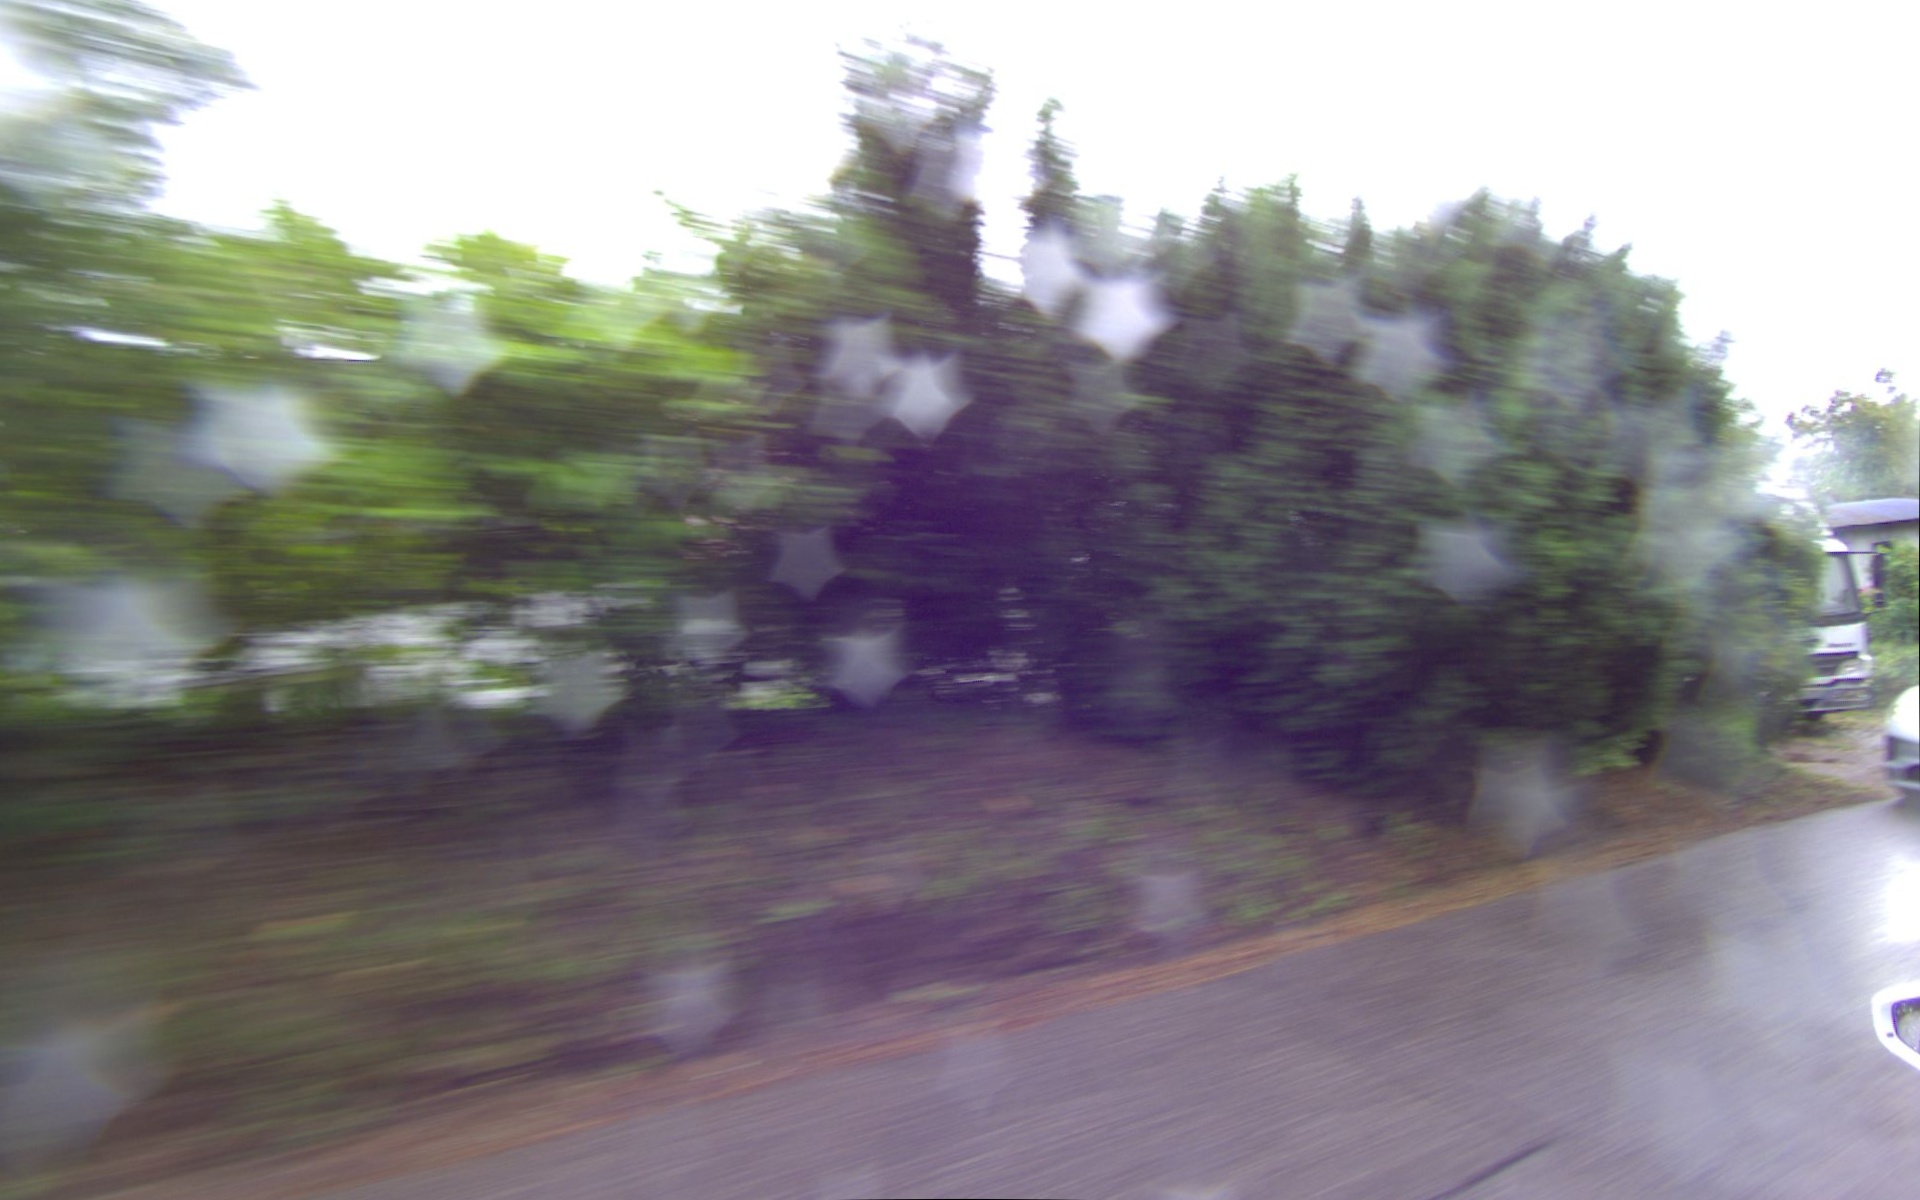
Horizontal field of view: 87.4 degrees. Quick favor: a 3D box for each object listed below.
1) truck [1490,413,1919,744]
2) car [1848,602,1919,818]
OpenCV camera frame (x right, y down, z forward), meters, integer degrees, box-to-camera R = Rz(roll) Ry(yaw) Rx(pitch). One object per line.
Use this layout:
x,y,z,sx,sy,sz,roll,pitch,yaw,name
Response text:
10.935,-0.582,15.983,2.620,3.863,8.131,2,5,16,truck
9.133,0.909,7.810,4.524,1.542,1.932,3,-1,-29,car
